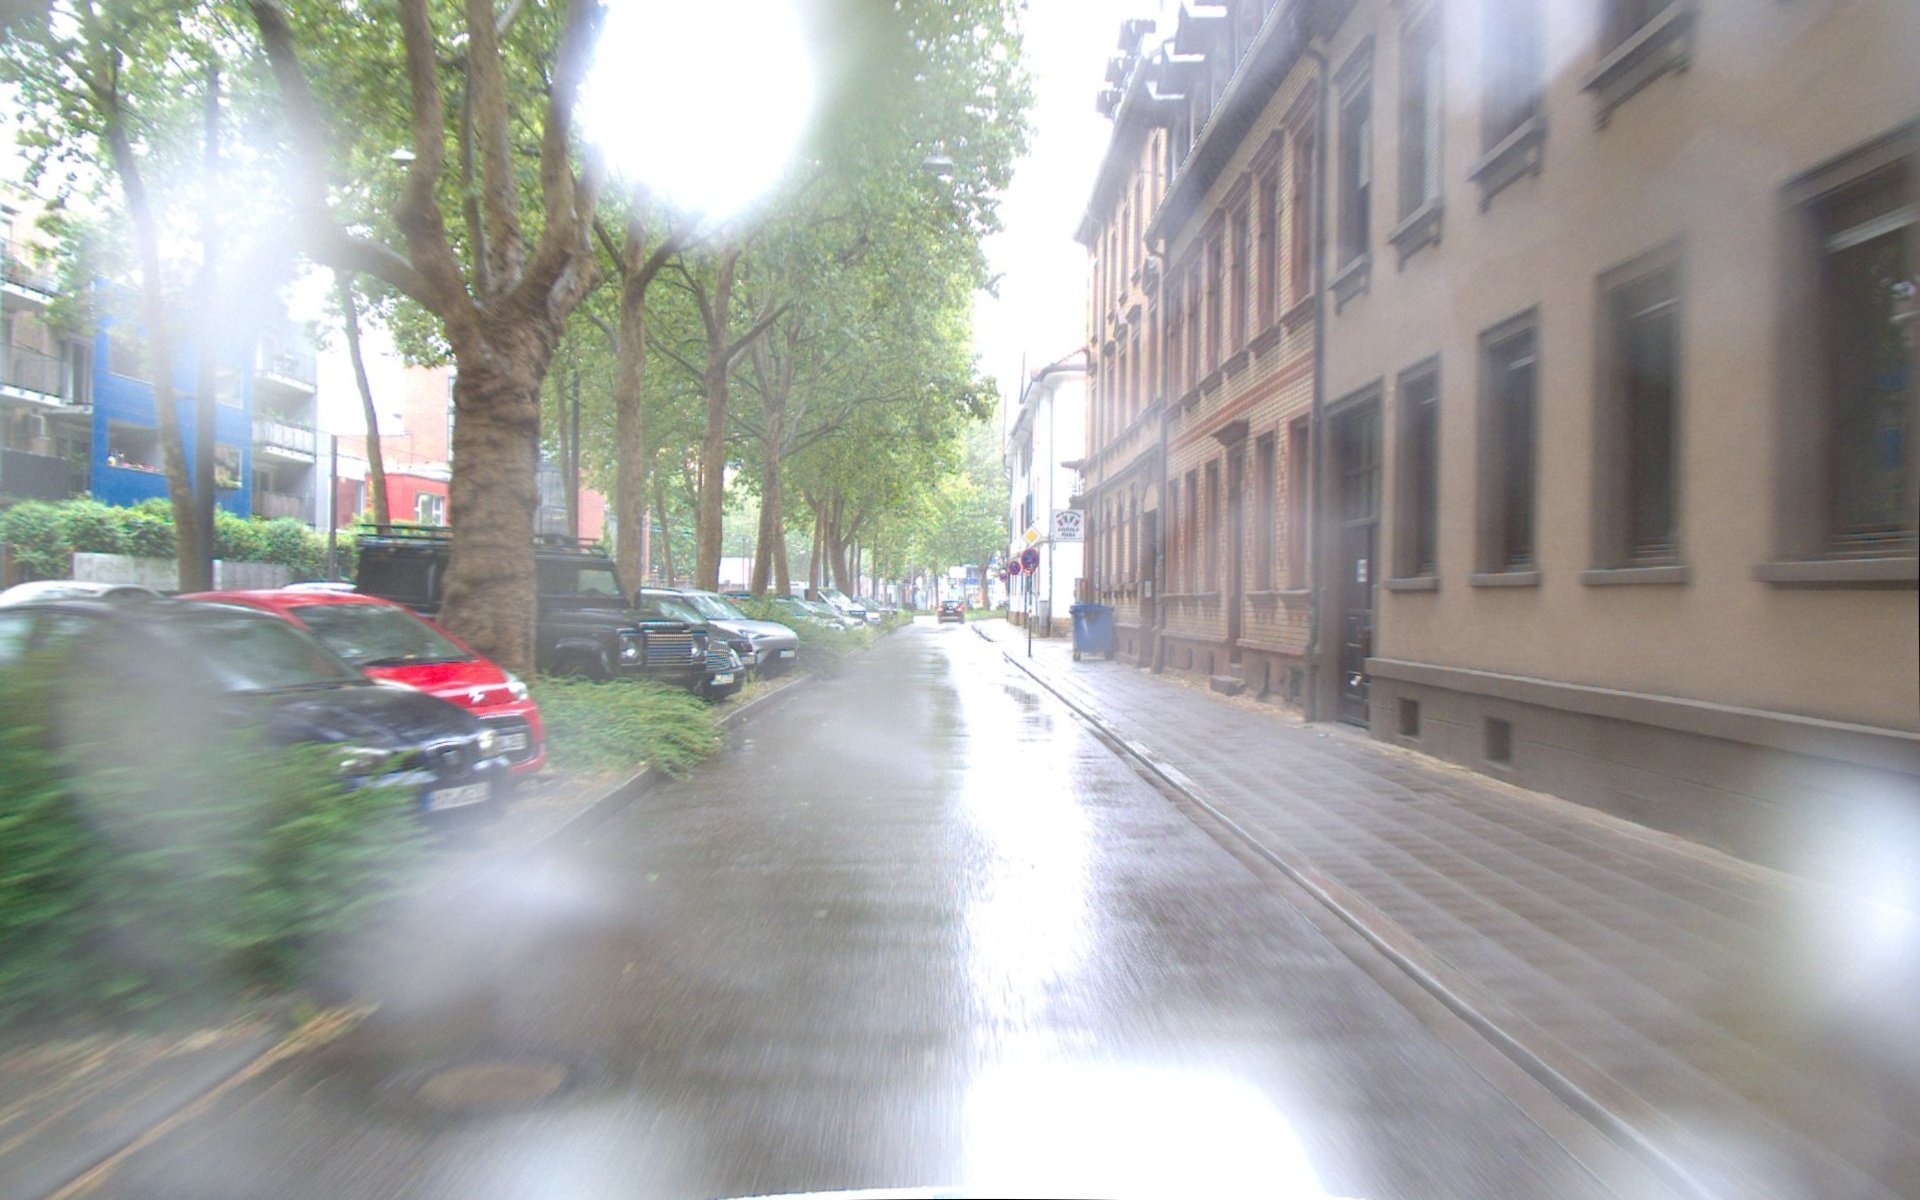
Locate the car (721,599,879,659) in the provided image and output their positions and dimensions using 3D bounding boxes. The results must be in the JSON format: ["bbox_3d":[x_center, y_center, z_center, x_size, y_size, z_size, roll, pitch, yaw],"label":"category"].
[{"bbox_3d":[-4.778,0.848,49.397,4.318,1.689,1.928,-1,1,27],"label":"car"}]

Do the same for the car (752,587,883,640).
[{"bbox_3d":[-5.858,0.568,67.795,5.019,2.012,2.099,-2,0,30],"label":"car"}]

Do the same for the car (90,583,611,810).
[{"bbox_3d":[-4.537,0.646,12.325,3.423,1.461,1.780,-1,0,27],"label":"car"}]

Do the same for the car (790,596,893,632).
[{"bbox_3d":[-5.465,0.659,76.236,4.460,1.508,1.772,-2,0,30],"label":"car"}]

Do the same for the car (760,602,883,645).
[{"bbox_3d":[-5.072,0.824,60.579,4.217,1.462,1.746,0,1,26],"label":"car"}]

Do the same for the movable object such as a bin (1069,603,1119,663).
[{"bbox_3d":[3.214,0.780,39.821,1.000,1.324,1.366,-4,1,-1],"label":"movable object such as a bin"}]

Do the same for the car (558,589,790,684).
[{"bbox_3d":[-4.761,0.599,27.603,3.427,1.493,1.643,-1,0,21],"label":"car"}]

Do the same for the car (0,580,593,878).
[{"bbox_3d":[-4.342,0.657,9.778,3.952,1.460,1.781,-1,0,24],"label":"car"}]

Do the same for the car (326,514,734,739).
[{"bbox_3d":[-5.033,0.286,19.186,4.561,2.323,2.007,-1,0,33],"label":"car"}]

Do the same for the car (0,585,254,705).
[{"bbox_3d":[-11.967,0.567,23.780,1.866,1.561,4.419,0,1,-2],"label":"car"}]

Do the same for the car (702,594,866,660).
[{"bbox_3d":[-5.010,0.773,46.895,4.322,1.674,1.868,-2,0,30],"label":"car"}]

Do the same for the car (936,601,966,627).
[{"bbox_3d":[-0.604,0.908,110.228,1.953,1.668,3.999,0,0,-1],"label":"car"}]

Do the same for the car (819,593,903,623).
[{"bbox_3d":[-5.570,0.440,93.085,4.370,1.625,1.922,0,1,26],"label":"car"}]

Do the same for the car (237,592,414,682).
[{"bbox_3d":[-11.921,0.643,31.362,1.866,1.561,4.214,0,1,-2],"label":"car"}]

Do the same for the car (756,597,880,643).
[{"bbox_3d":[-4.948,0.675,57.558,3.974,1.525,1.747,0,1,23],"label":"car"}]

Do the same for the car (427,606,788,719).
[{"bbox_3d":[-4.718,0.800,22.032,4.554,1.349,1.845,-1,0,27],"label":"car"}]

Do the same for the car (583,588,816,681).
[{"bbox_3d":[-4.786,0.585,30.344,3.976,1.564,1.832,1,1,30],"label":"car"}]

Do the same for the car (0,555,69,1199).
[{"bbox_3d":[-2.999,0.675,1.912,1.694,1.541,4.207,1,1,-1],"label":"car"}]
